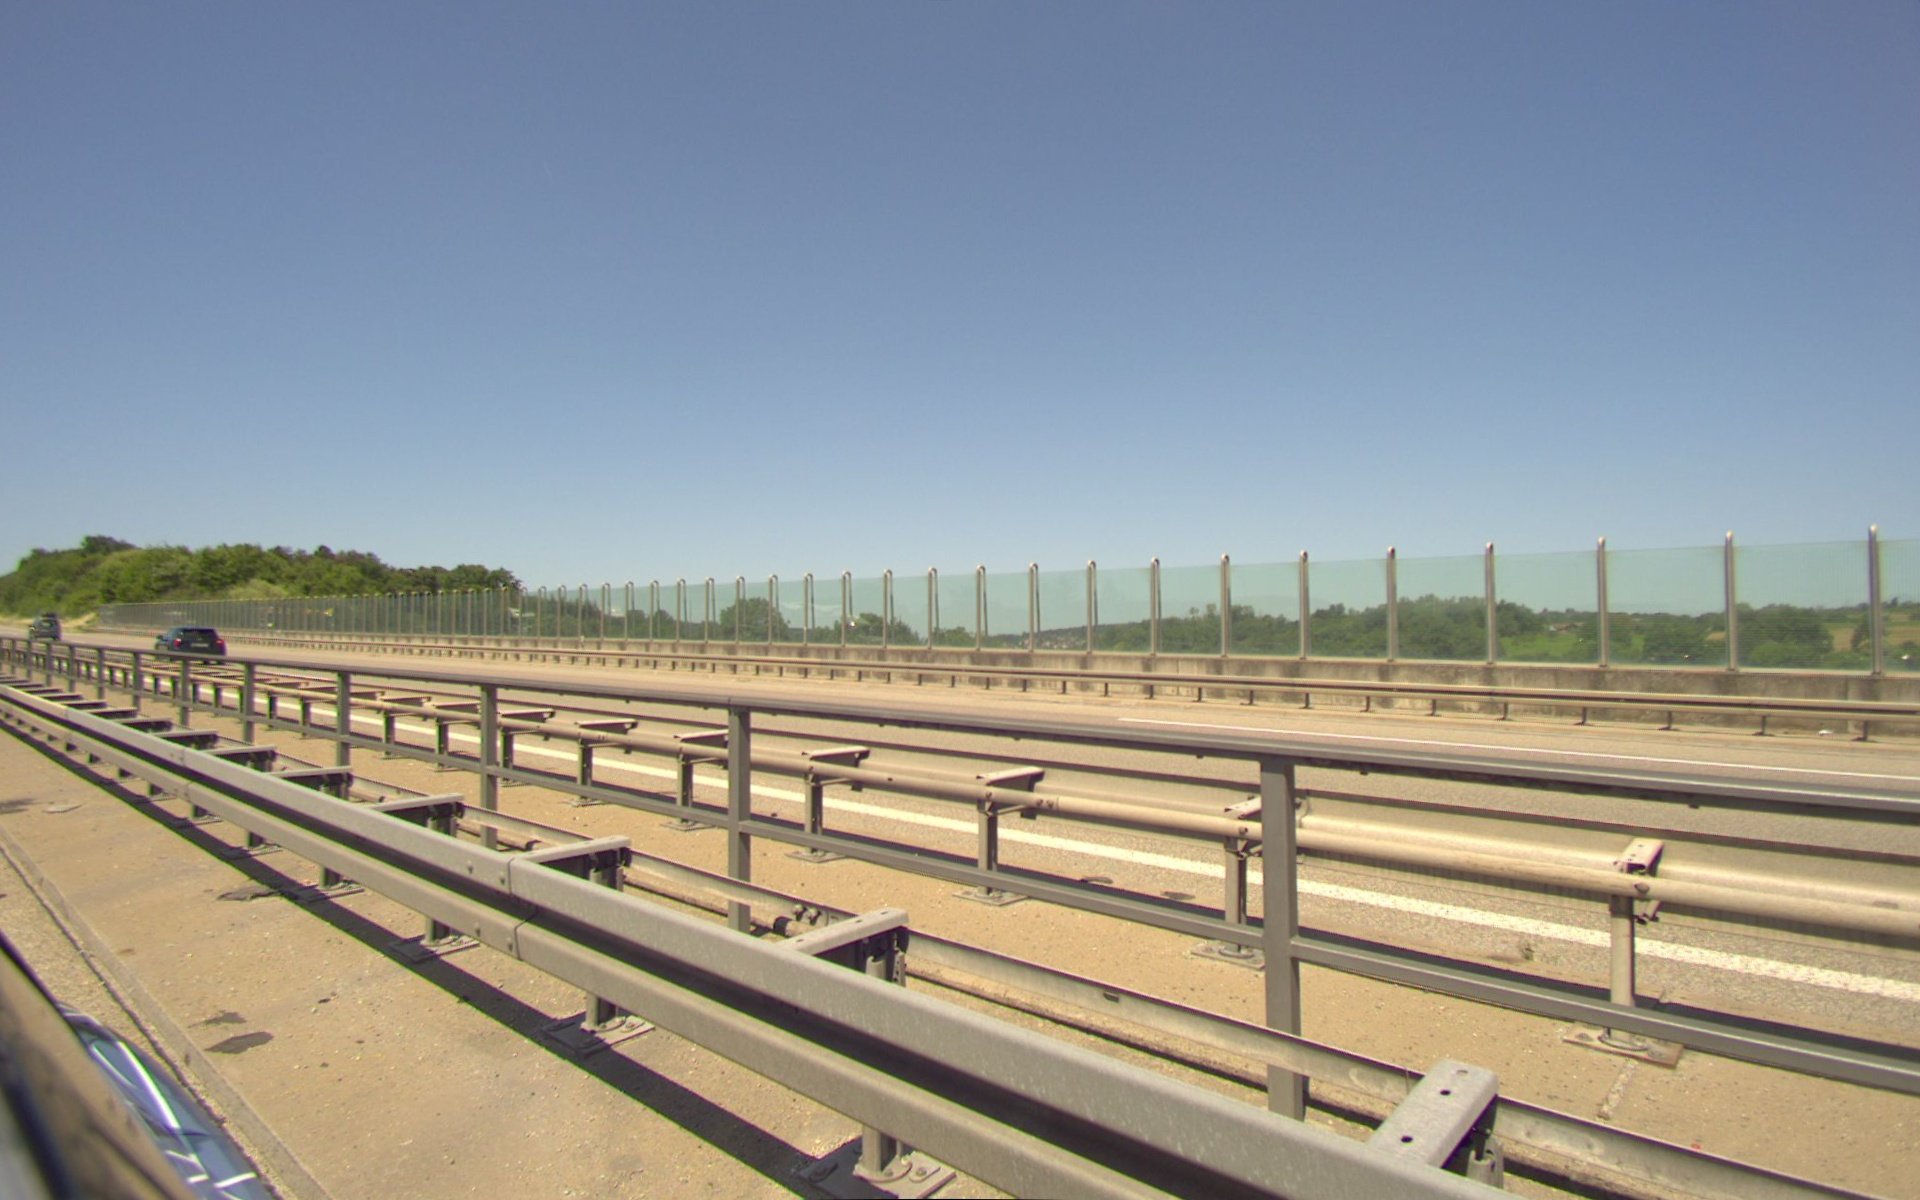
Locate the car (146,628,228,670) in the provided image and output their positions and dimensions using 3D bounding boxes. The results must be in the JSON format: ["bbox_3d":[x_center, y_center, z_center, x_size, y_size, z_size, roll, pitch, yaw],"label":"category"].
[{"bbox_3d":[-29.143,1.827,38.114,3.999,1.431,1.681,-1,-4,42],"label":"car"}]

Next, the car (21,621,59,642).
[{"bbox_3d":[-75.278,2.587,82.774,3.999,1.650,1.808,-1,-4,42],"label":"car"}]
